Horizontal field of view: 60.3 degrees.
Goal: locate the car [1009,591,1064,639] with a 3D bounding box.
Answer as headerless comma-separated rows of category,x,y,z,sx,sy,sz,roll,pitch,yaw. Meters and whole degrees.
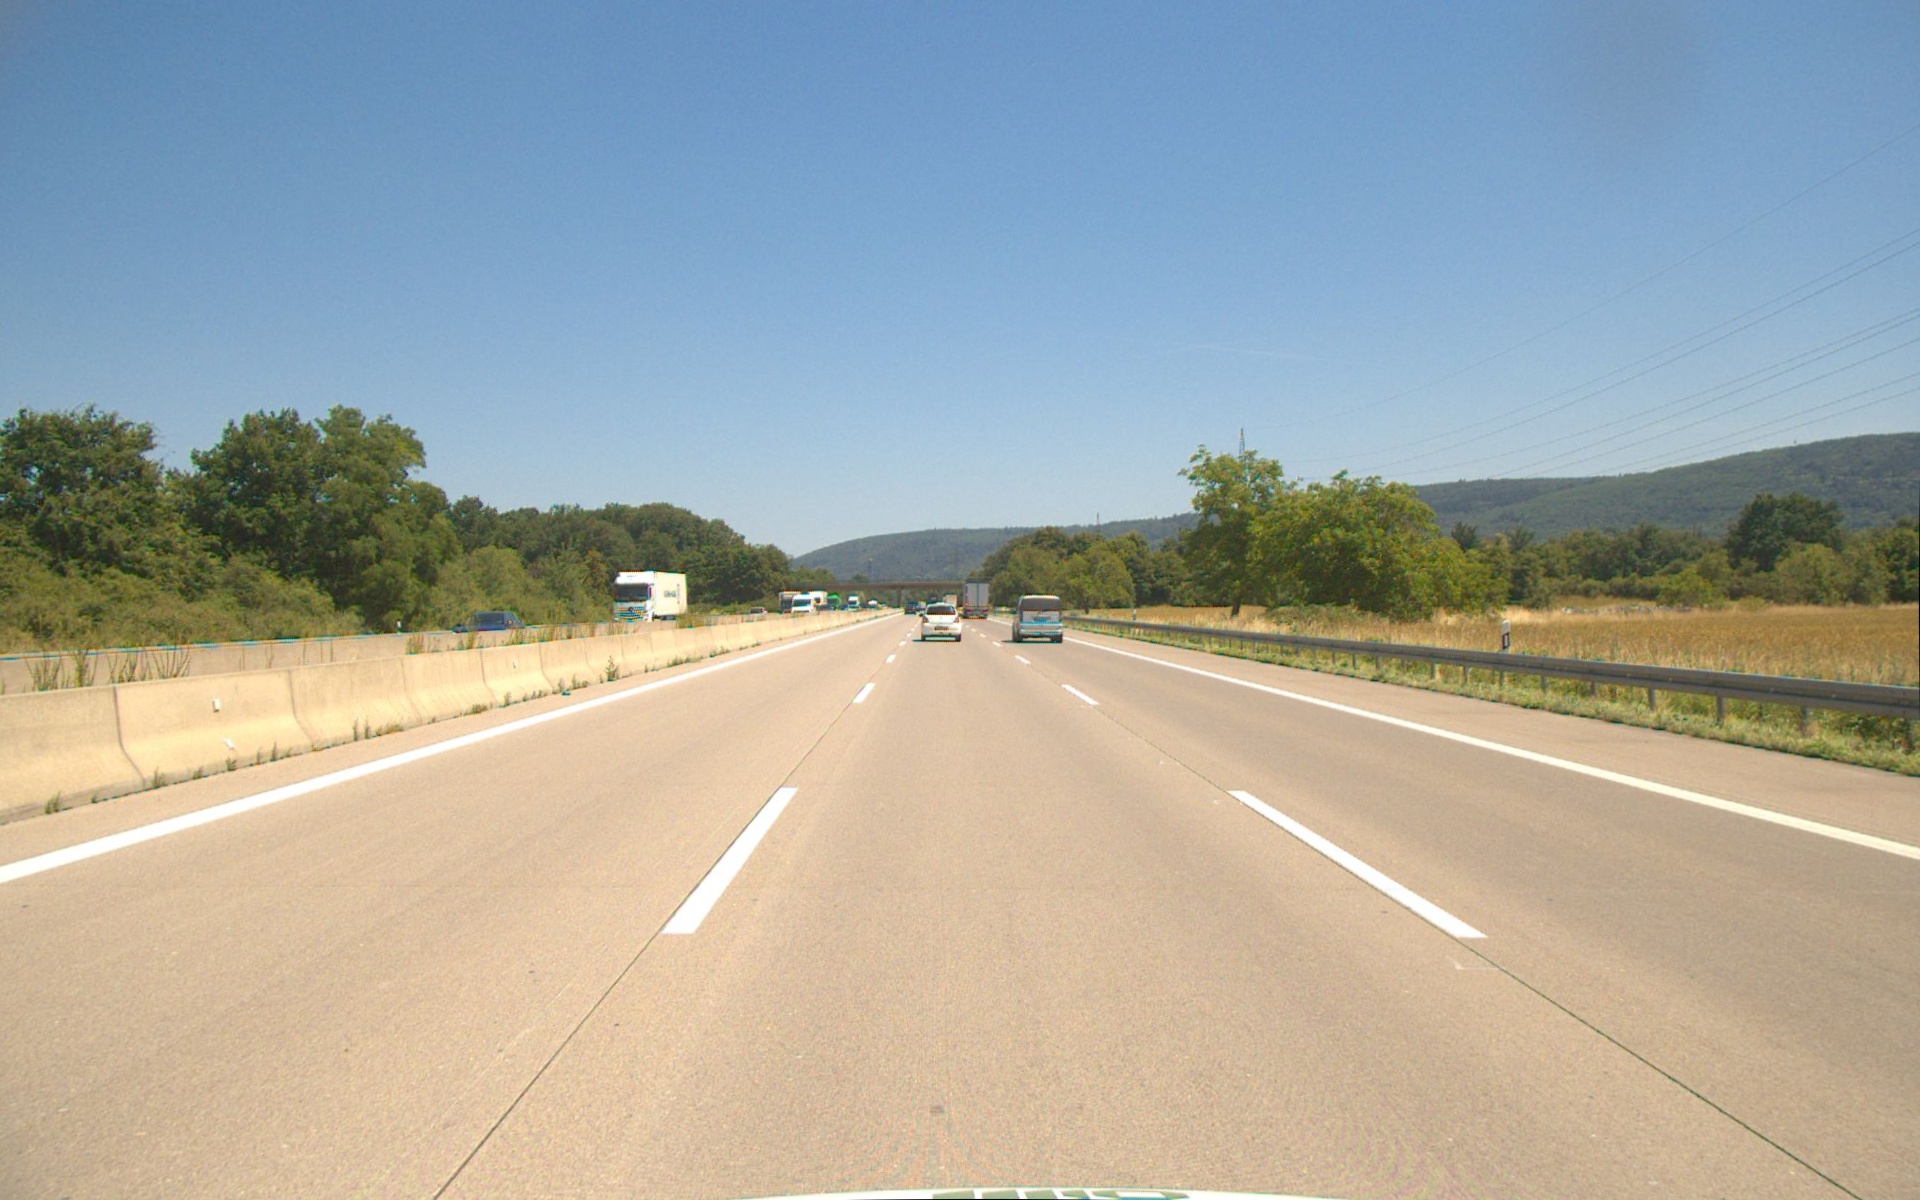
car,3.131,0.590,68.283,1.953,1.881,3.999,1,0,-2

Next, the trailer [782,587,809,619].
trailer,-22.516,0.380,226.571,2.893,4.177,8.482,1,0,0

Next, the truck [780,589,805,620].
truck,-22.510,0.591,222.401,2.893,4.200,5.085,1,0,-1

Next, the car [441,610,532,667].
car,-17.070,1.348,59.869,1.953,1.914,4.691,1,0,-1

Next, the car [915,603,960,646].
car,-0.955,0.992,68.771,1.782,1.691,3.999,0,0,-2

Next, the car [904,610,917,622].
car,-7.225,2.335,242.734,1.890,1.825,3.999,1,0,-2

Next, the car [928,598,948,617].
car,-2.433,0.820,180.263,1.954,1.881,3.998,2,0,-2

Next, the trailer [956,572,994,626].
trailer,1.650,-0.115,185.722,3.646,5.913,12.156,1,0,-2

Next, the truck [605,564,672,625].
truck,-21.766,-0.347,112.440,3.097,3.977,8.370,1,0,-1

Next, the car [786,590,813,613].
car,-14.625,0.147,150.983,2.026,2.049,5.979,1,0,-1

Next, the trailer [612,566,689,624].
trailer,-21.876,-0.349,117.767,3.097,3.905,14.027,1,0,-1
